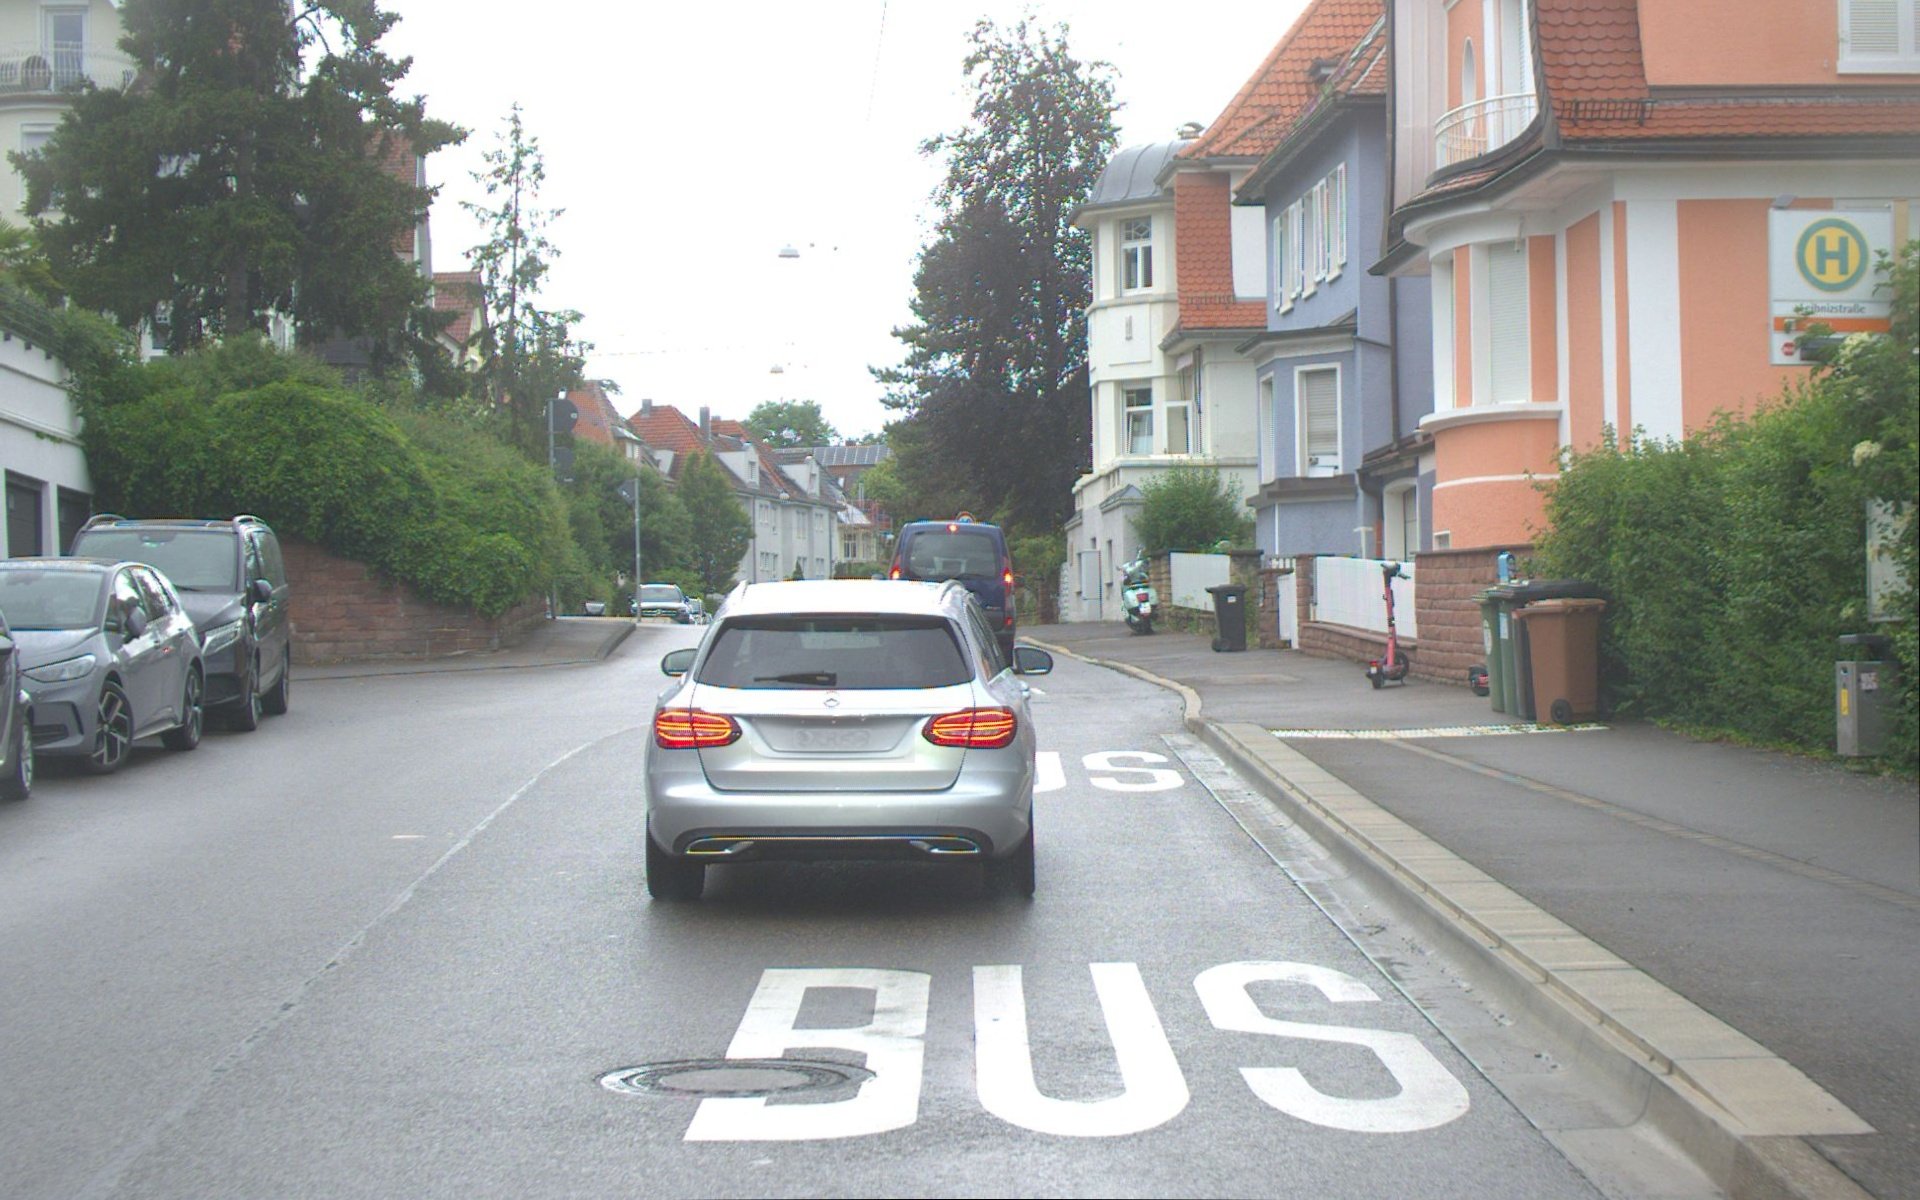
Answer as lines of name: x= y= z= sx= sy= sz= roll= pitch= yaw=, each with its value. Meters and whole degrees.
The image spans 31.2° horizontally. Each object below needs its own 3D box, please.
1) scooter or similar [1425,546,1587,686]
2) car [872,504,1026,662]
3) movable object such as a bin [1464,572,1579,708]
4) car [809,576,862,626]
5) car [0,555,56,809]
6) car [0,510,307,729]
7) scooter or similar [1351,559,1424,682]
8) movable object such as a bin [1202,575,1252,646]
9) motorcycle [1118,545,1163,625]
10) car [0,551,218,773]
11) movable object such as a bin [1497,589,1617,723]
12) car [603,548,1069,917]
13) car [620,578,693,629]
scooter or similar: x=5.050 y=0.150 z=31.796 sx=1.260 sy=1.220 sz=0.694 roll=-3 pitch=0 yaw=30
car: x=-0.134 y=-0.256 z=43.931 sx=1.824 sy=1.876 sz=4.095 roll=-2 pitch=1 yaw=0
movable object such as a bin: x=4.495 y=0.313 z=27.564 sx=0.711 sy=1.026 sz=0.757 roll=-3 pitch=1 yaw=-4
car: x=-6.477 y=0.039 z=179.320 sx=2.467 sy=2.391 sz=4.000 roll=-4 pitch=1 yaw=0
car: x=-6.666 y=0.501 z=21.530 sx=1.496 sy=1.518 sz=3.160 roll=-1 pitch=1 yaw=-7
car: x=-7.378 y=0.112 z=31.988 sx=2.128 sy=1.853 sz=5.595 roll=0 pitch=1 yaw=-6
scooter or similar: x=4.409 y=0.201 z=35.519 sx=0.693 sy=1.220 sz=1.299 roll=-1 pitch=1 yaw=6
movable object such as a bin: x=3.664 y=0.138 z=47.183 sx=0.549 sy=0.932 sz=0.634 roll=-4 pitch=1 yaw=-2
motorcycle: x=2.980 y=-0.264 z=56.915 sx=0.582 sy=1.257 sz=2.331 roll=-3 pitch=1 yaw=1
car: x=-6.952 y=0.402 z=26.042 sx=1.898 sy=1.510 sz=4.343 roll=0 pitch=1 yaw=-3
movable object such as a bin: x=4.445 y=0.408 z=25.612 sx=0.569 sy=0.965 sz=0.670 roll=0 pitch=1 yaw=-35
car: x=-0.572 y=0.533 z=16.801 sx=1.982 sy=1.548 sz=4.298 roll=0 pitch=1 yaw=-1
car: x=-9.287 y=0.100 z=105.564 sx=2.117 sy=1.466 sz=4.018 roll=-1 pitch=1 yaw=-4
